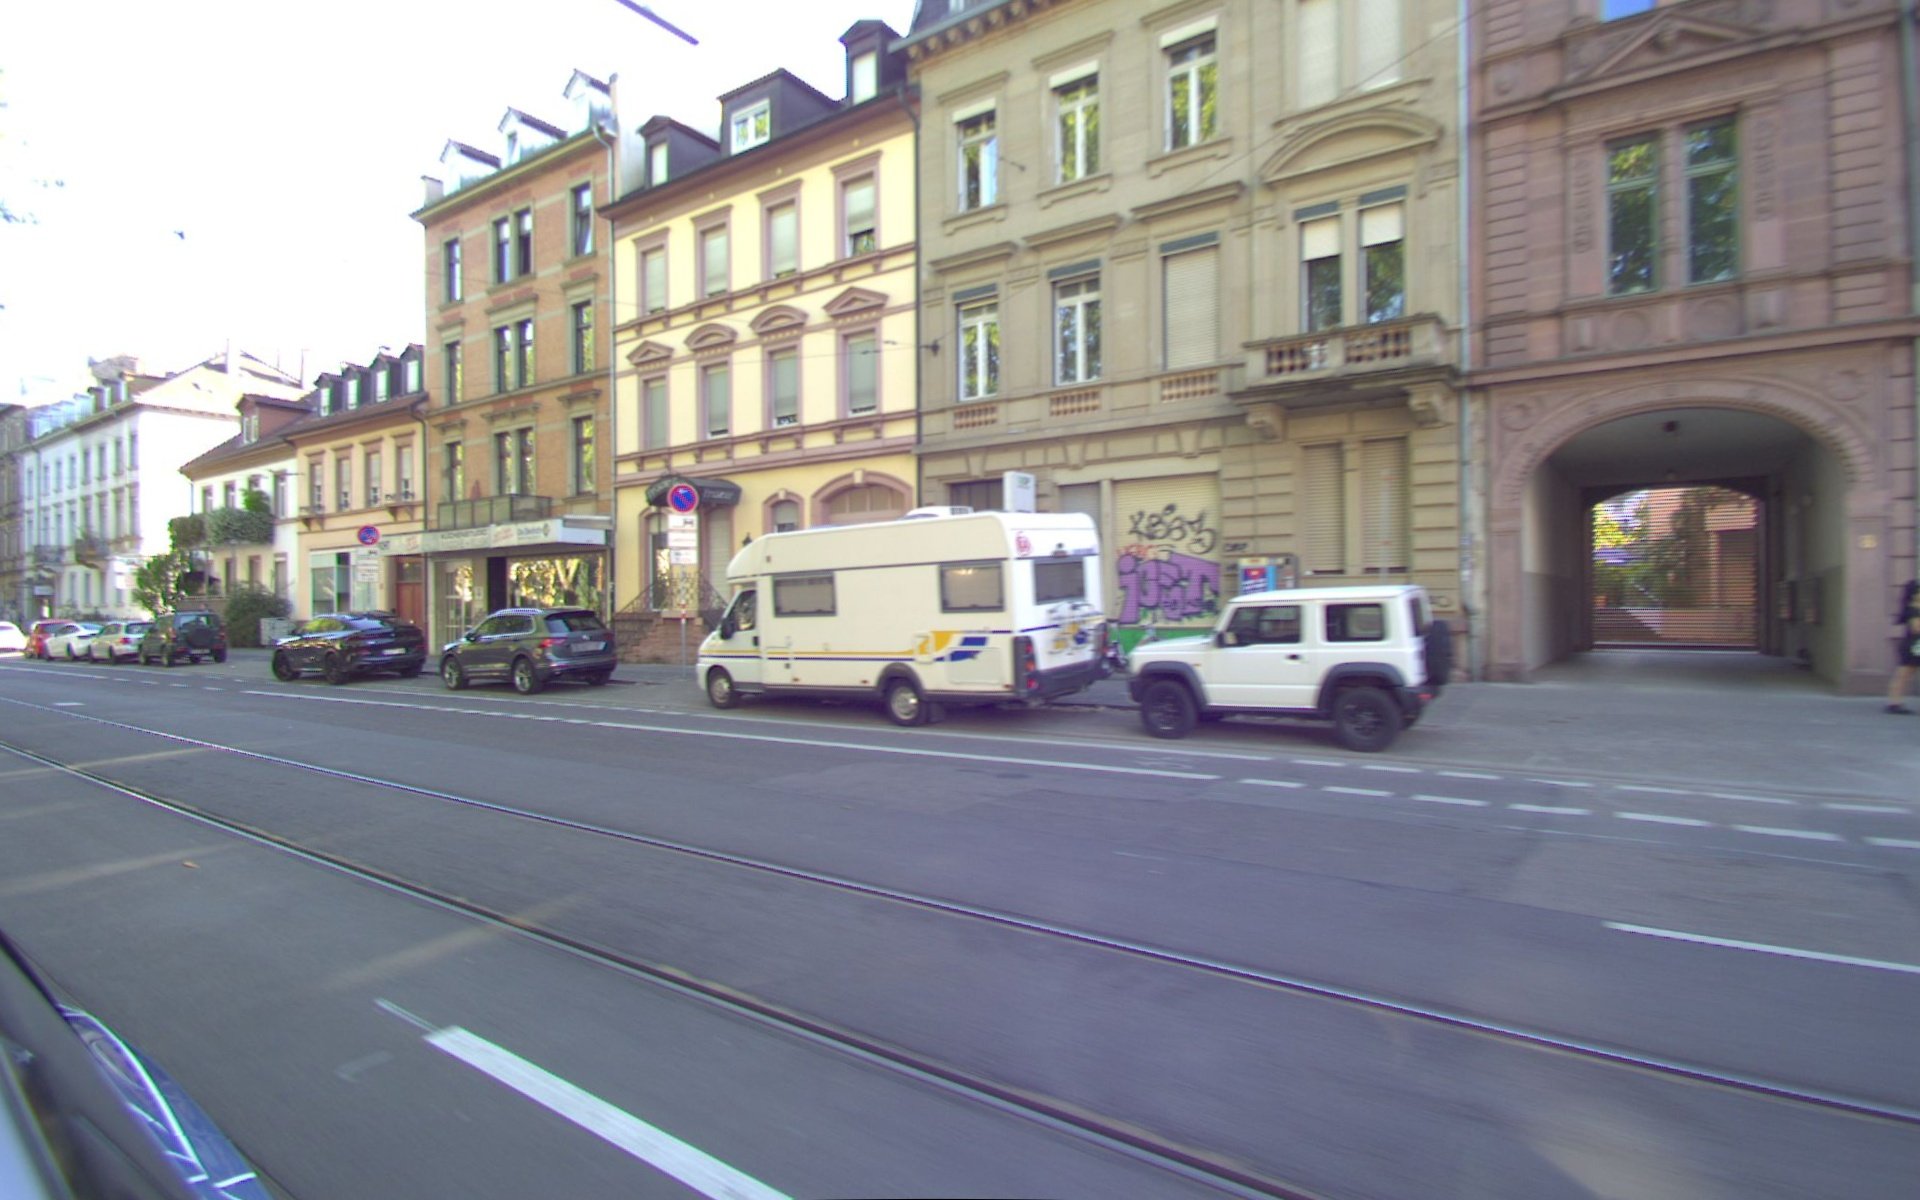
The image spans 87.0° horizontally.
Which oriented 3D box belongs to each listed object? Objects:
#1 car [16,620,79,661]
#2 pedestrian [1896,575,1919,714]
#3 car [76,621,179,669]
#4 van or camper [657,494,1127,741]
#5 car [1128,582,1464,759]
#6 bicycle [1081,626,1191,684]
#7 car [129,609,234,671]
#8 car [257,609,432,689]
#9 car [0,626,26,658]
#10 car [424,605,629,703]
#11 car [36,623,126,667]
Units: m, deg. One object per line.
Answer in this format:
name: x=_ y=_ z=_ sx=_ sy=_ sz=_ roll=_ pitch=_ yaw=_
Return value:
car: x=-37.384 y=1.626 z=41.443 sx=3.322 sy=1.522 sz=1.404 roll=-1 pitch=1 yaw=39
pedestrian: x=10.602 y=0.470 z=10.949 sx=0.606 sy=1.472 sz=0.571 roll=-1 pitch=1 yaw=35
car: x=-28.751 y=1.519 z=34.925 sx=4.395 sy=1.465 sz=1.649 roll=-1 pitch=2 yaw=36
van or camper: x=-1.311 y=0.205 z=15.304 sx=7.240 sy=2.969 sz=2.397 roll=-1 pitch=2 yaw=38
car: x=3.853 y=0.721 z=11.726 sx=3.362 sy=1.718 sz=1.617 roll=-1 pitch=2 yaw=34
bicycle: x=2.975 y=0.921 z=17.212 sx=1.790 sy=0.931 sz=0.573 roll=-1 pitch=-1 yaw=39
car: x=-25.057 y=1.249 z=32.545 sx=3.619 sy=1.759 sz=1.709 roll=-1 pitch=2 yaw=37
car: x=-15.418 y=1.172 z=25.272 sx=4.740 sy=1.715 sz=1.977 roll=-1 pitch=2 yaw=36
car: x=-45.624 y=1.985 z=47.506 sx=4.075 sy=1.442 sz=1.847 roll=-1 pitch=1 yaw=36
car: x=-9.000 y=1.048 z=20.884 sx=4.434 sy=1.718 sz=1.795 roll=-1 pitch=2 yaw=36
car: x=-33.125 y=1.667 z=38.114 sx=4.461 sy=1.502 sz=1.569 roll=-1 pitch=1 yaw=36
